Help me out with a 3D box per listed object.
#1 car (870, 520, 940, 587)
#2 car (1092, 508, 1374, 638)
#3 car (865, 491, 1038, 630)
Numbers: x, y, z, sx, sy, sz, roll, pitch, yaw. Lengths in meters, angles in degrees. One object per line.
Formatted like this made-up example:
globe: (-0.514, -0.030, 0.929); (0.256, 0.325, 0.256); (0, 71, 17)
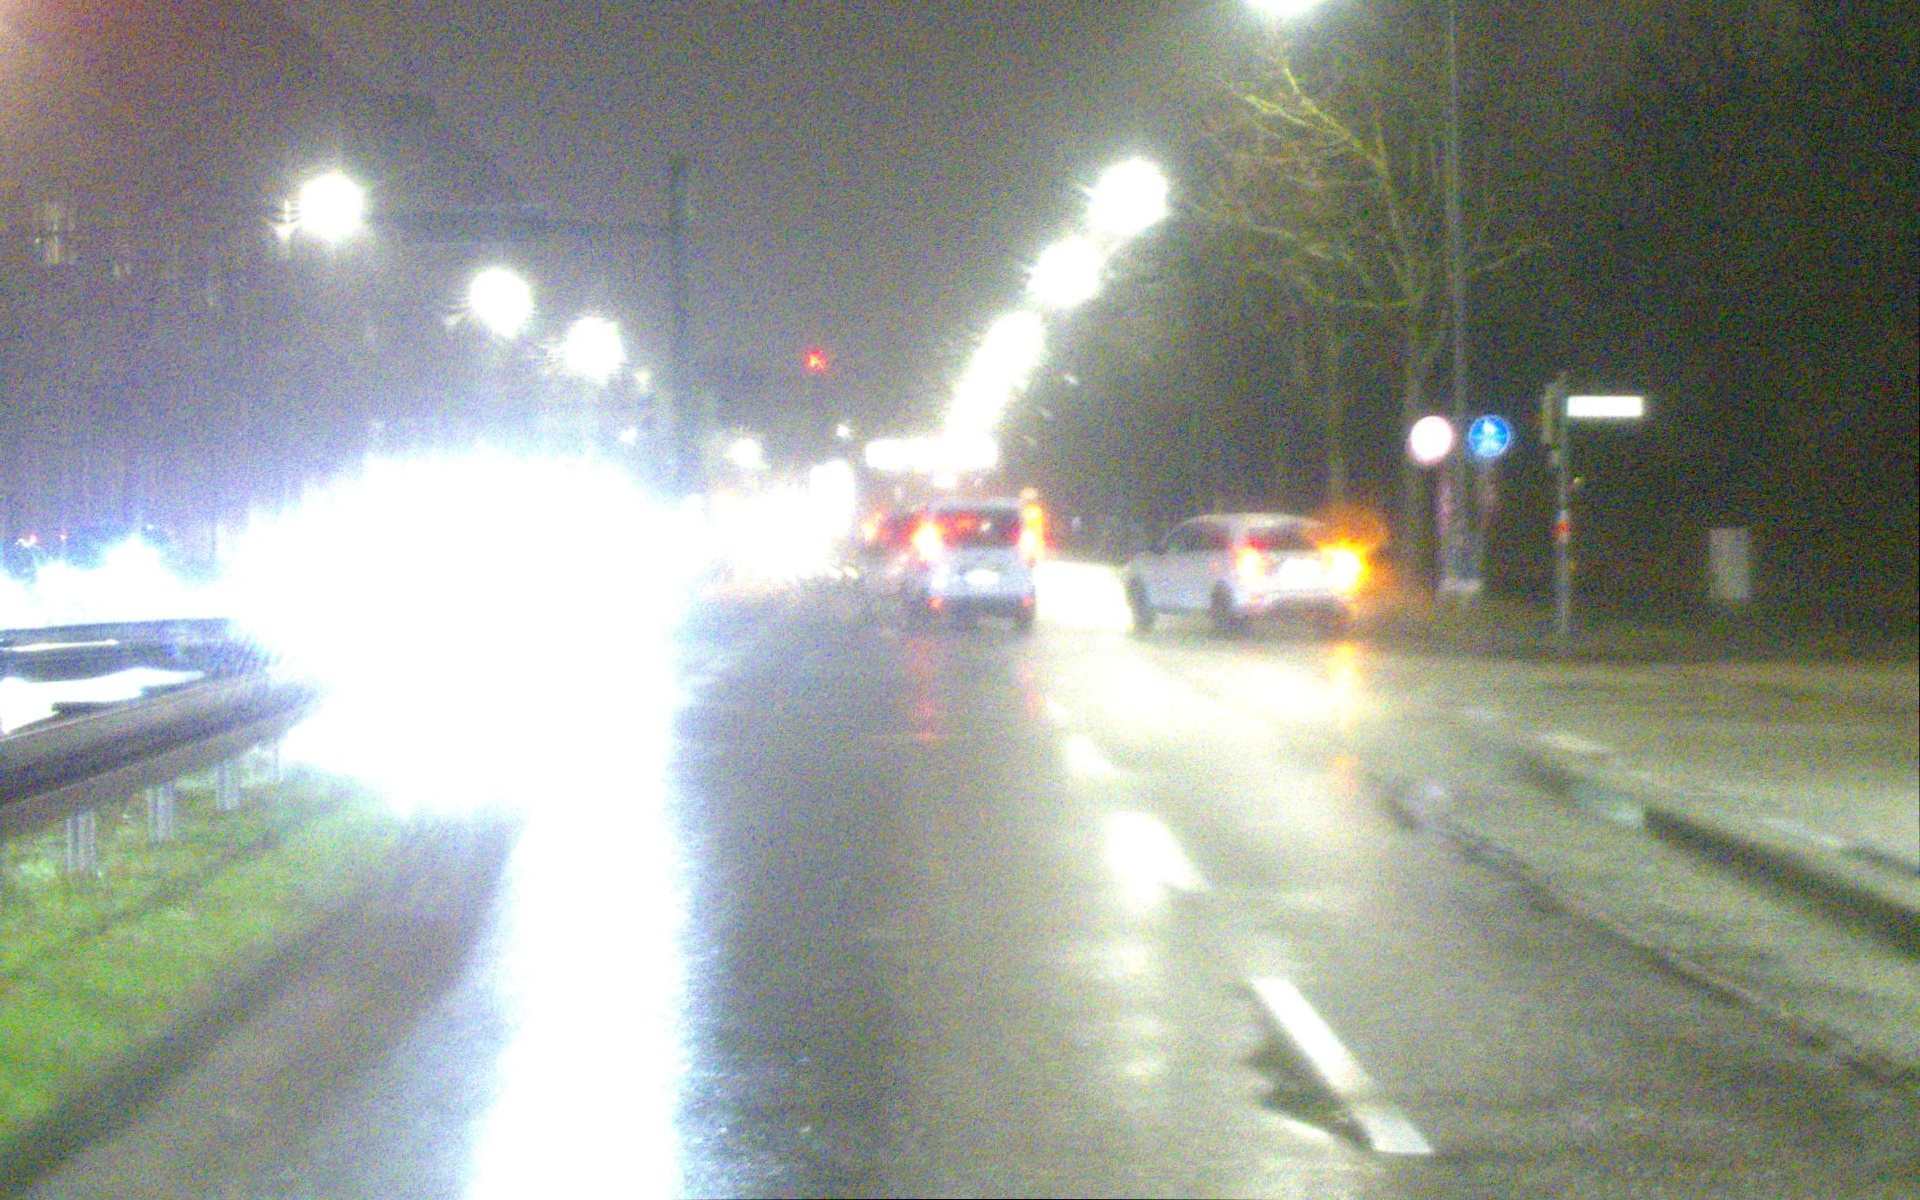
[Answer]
car: (-1.845, -1.534, 113.218); (2.134, 2.137, 4.929); (1, 1, -3)
car: (3.641, -0.374, 46.720); (1.790, 1.673, 4.429); (1, 1, -26)
car: (-0.177, -0.564, 49.186); (1.790, 1.868, 4.628); (1, 1, -9)
